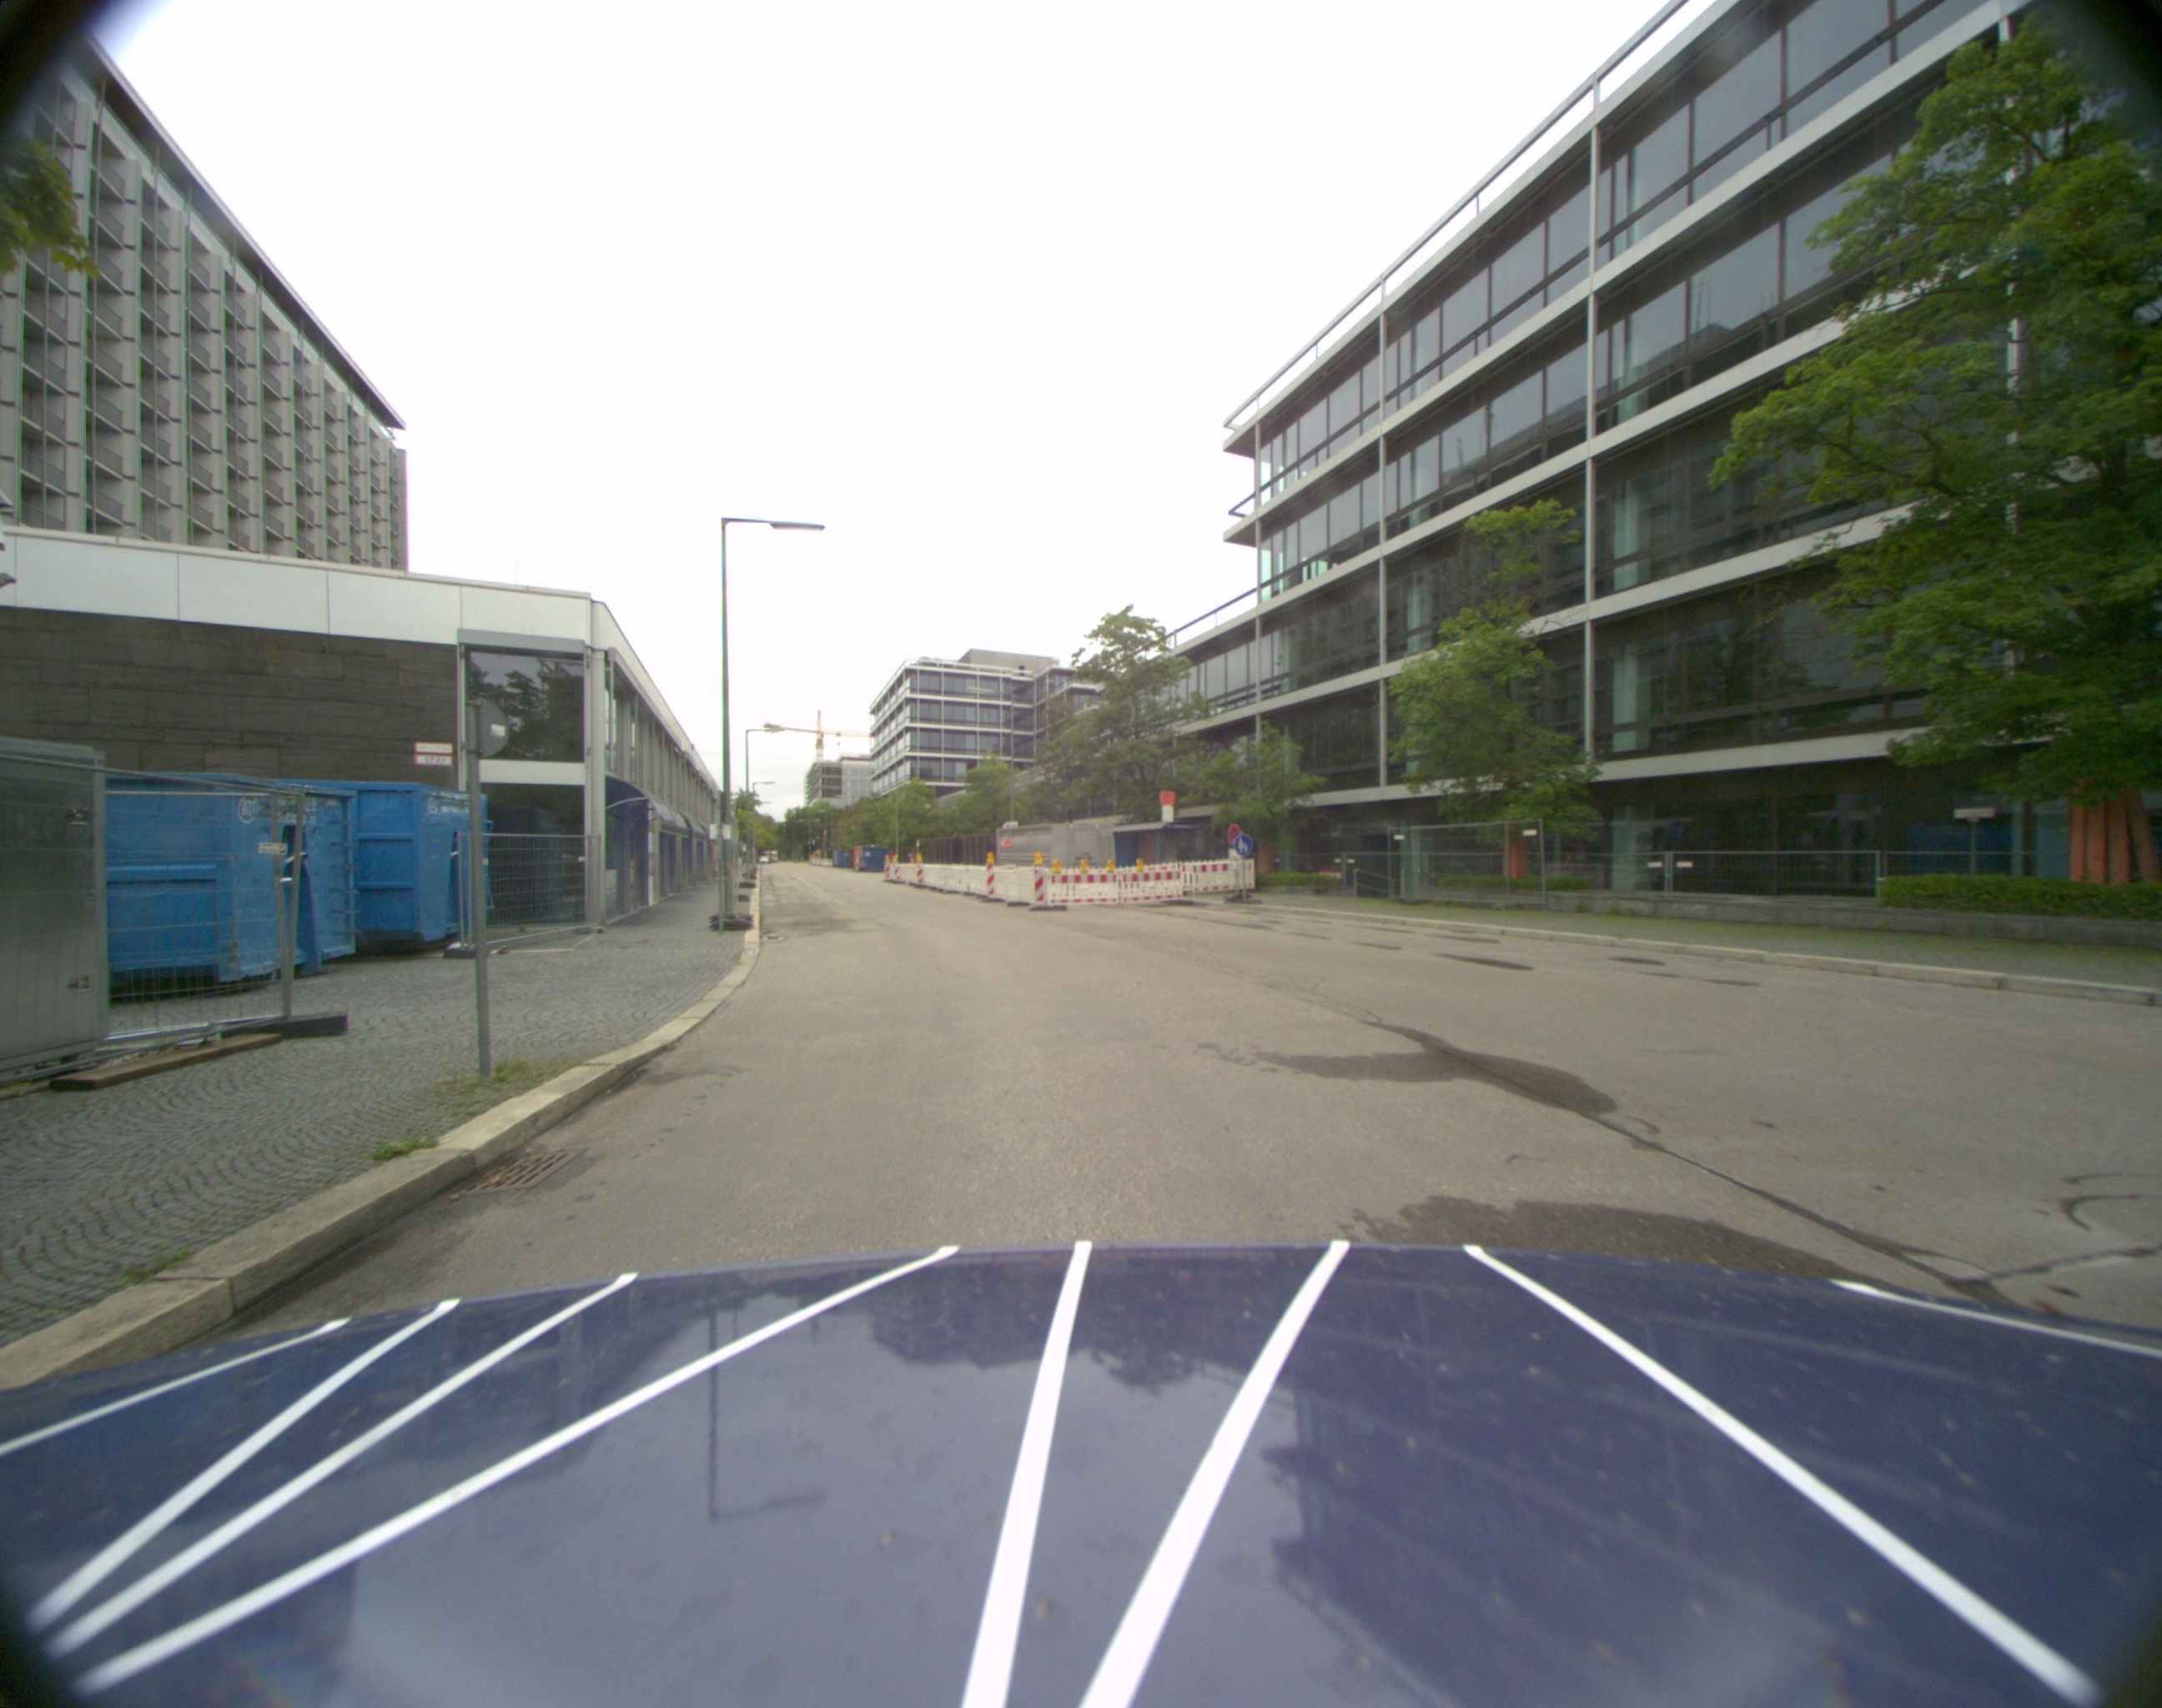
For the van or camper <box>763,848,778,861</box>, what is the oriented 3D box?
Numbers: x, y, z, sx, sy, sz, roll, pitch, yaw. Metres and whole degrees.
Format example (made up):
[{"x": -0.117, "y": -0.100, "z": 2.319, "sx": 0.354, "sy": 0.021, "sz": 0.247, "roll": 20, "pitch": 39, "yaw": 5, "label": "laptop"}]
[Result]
[{"x": -66.944, "y": 0.134, "z": 163.746, "sx": 2.671, "sy": 2.751, "sz": 6.903, "roll": 0, "pitch": 0, "yaw": -19, "label": "van or camper"}]

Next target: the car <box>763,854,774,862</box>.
[{"x": -64.900, "y": 0.721, "z": 157.815, "sx": 1.916, "sy": 1.627, "sz": 3.993, "roll": 0, "pitch": 0, "yaw": -21, "label": "car"}]

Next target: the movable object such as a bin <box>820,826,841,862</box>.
[{"x": -45.477, "y": -1.800, "z": 137.798, "sx": 3.248, "sy": 6.285, "sz": 8.321, "roll": 0, "pitch": 0, "yaw": -20, "label": "movable object such as a bin"}]
